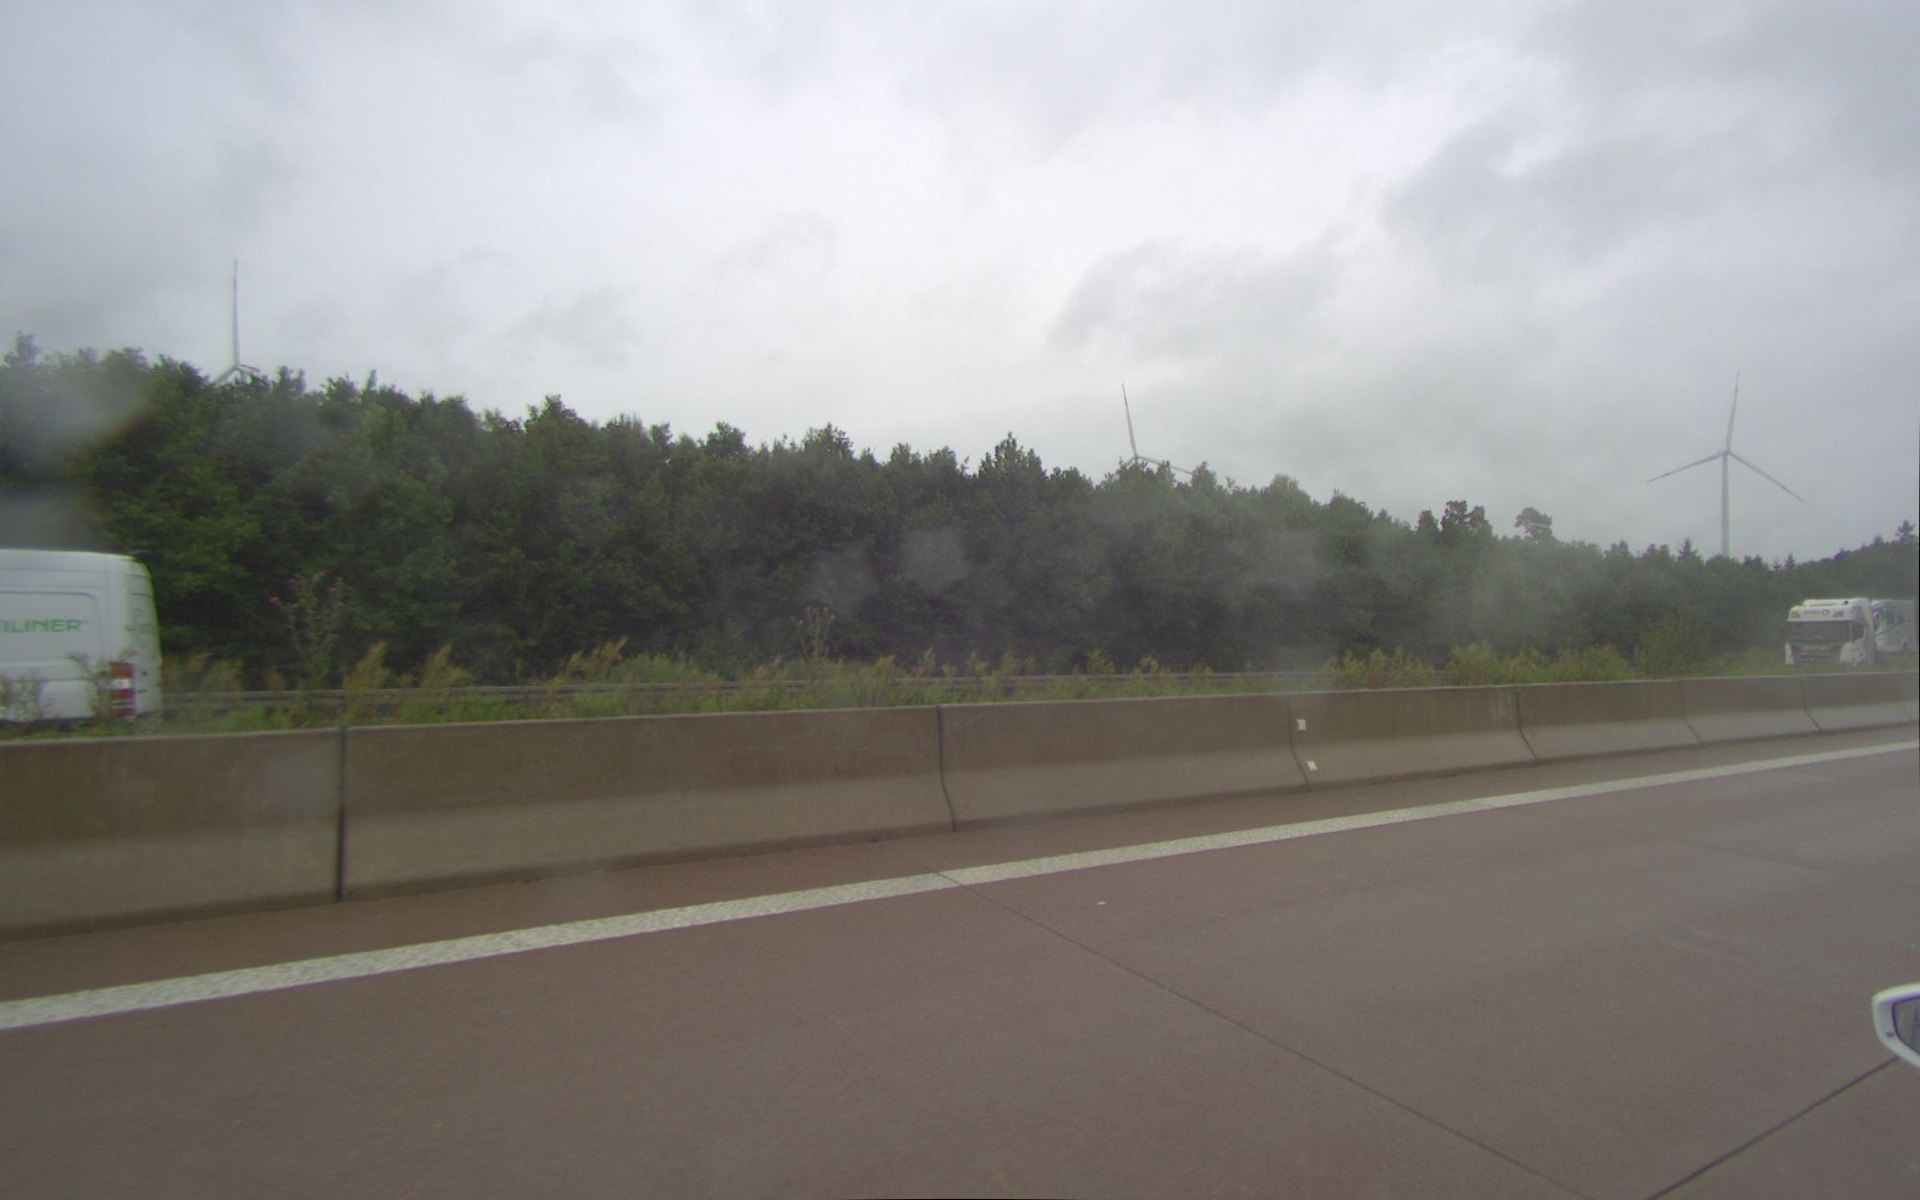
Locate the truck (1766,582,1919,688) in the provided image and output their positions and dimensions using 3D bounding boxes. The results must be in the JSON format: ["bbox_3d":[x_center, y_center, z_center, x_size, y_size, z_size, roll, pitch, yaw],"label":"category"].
[{"bbox_3d":[41.533,1.579,46.620,9.445,4.532,3.130,1,1,-30],"label":"truck"}]

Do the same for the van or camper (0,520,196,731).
[{"bbox_3d":[-11.889,0.246,10.770,5.660,2.235,2.117,1,-1,-33],"label":"van or camper"}]
